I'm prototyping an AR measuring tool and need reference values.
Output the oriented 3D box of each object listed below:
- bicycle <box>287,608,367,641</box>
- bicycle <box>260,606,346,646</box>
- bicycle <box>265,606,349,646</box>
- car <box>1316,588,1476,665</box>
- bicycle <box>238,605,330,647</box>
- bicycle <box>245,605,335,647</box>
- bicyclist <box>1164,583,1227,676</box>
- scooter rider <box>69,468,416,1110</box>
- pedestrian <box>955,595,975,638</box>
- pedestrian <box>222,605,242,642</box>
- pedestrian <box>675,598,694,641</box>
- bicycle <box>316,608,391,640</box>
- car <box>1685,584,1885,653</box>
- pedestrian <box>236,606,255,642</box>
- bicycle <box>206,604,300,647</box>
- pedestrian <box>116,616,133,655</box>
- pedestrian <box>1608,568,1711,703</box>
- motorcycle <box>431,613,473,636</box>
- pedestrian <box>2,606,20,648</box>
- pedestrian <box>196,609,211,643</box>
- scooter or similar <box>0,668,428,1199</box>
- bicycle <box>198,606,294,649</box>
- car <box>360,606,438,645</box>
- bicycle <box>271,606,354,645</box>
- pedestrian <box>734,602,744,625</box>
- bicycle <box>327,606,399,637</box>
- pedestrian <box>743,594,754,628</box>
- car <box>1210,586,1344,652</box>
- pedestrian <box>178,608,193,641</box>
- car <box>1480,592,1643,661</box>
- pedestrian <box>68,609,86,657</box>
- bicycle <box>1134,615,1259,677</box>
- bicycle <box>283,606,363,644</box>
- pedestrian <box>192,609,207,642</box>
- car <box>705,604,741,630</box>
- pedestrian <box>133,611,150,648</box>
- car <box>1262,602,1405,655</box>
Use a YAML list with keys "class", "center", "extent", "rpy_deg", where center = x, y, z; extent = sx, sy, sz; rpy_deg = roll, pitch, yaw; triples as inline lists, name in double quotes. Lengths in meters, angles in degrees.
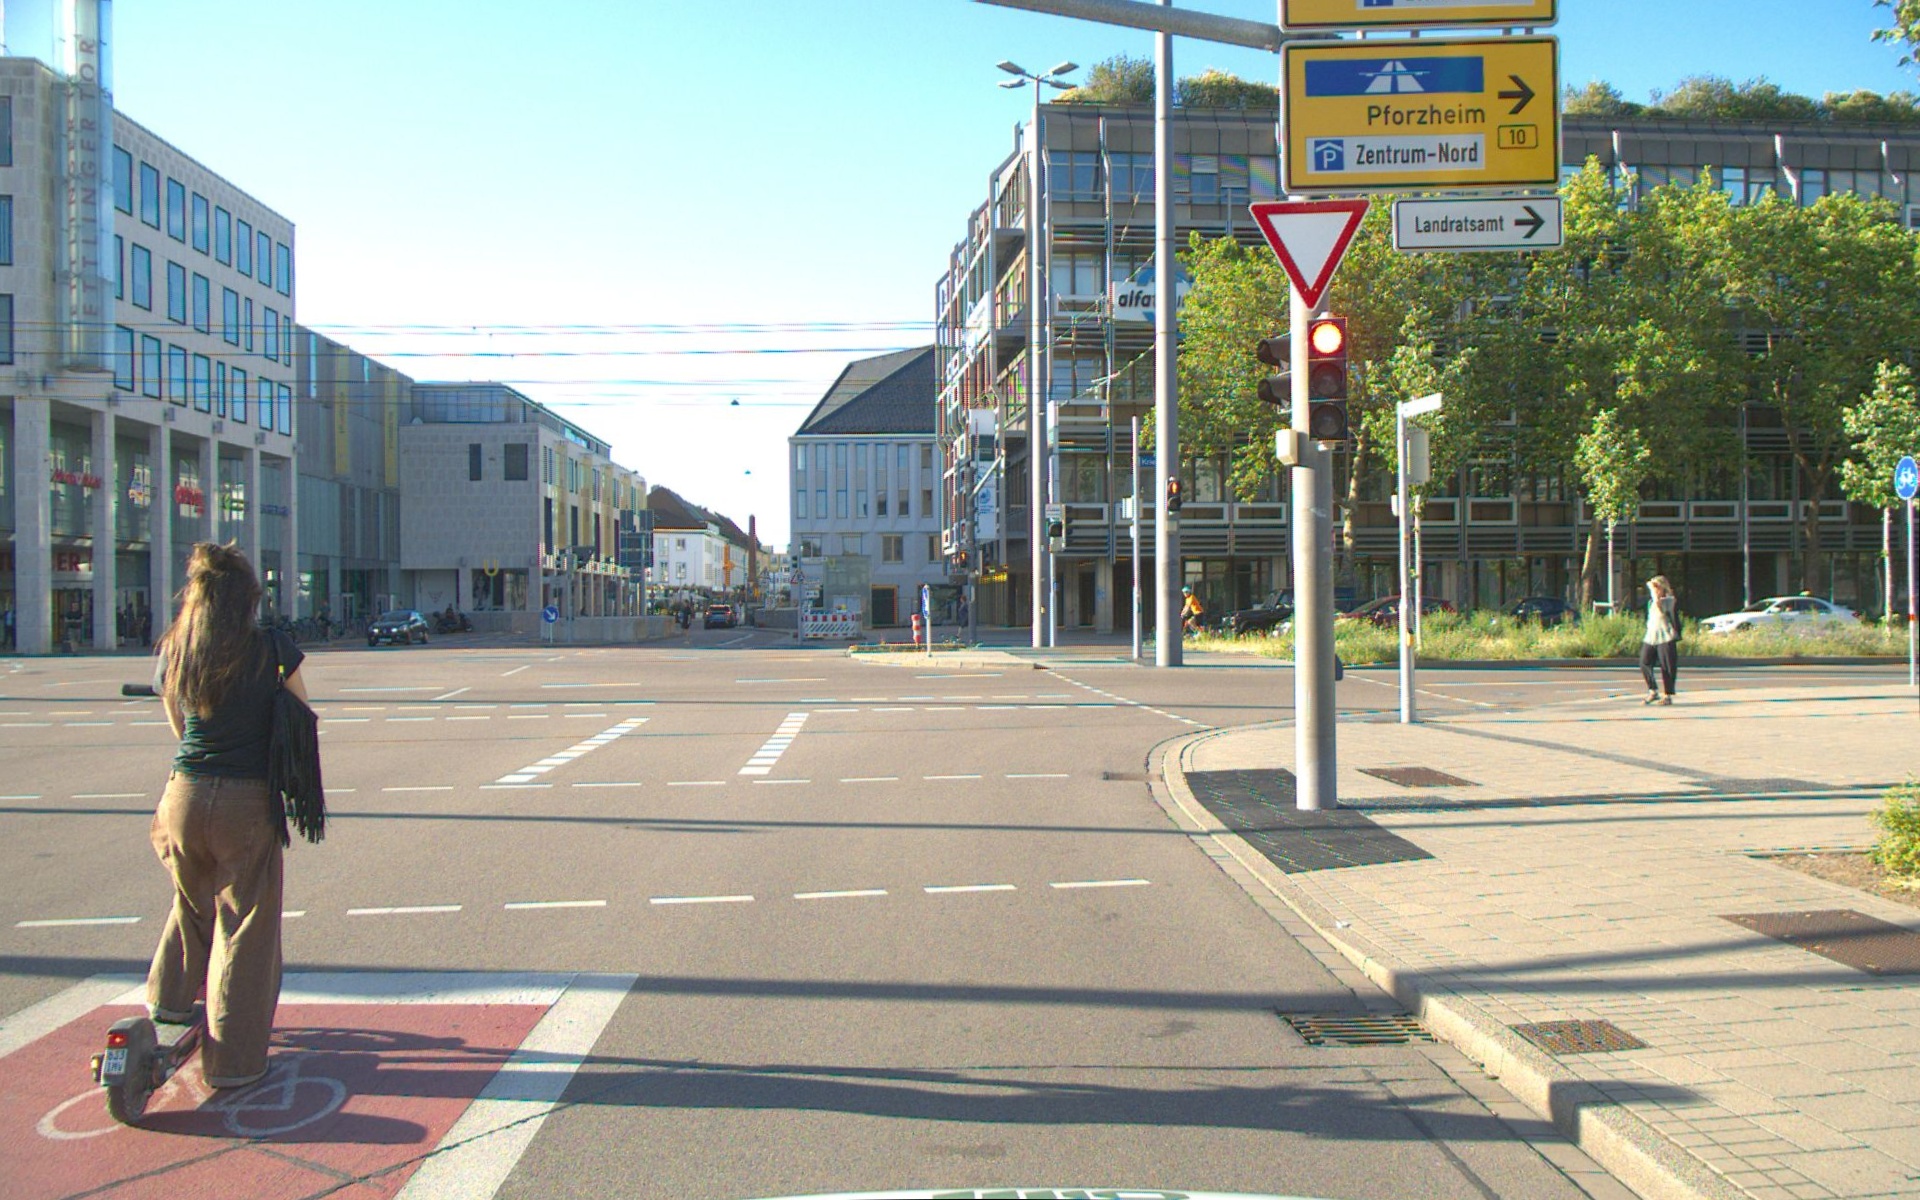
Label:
- class: "bicycle"
  center: [-30.543, 1.172, 79.850]
  extent: [3.430, 1.554, 0.984]
  rpy_deg: [-1, 0, -12]
- class: "bicycle"
  center: [-29.575, 1.170, 74.488]
  extent: [3.430, 1.726, 0.984]
  rpy_deg: [-1, 0, -12]
- class: "bicycle"
  center: [-29.799, 1.179, 75.576]
  extent: [3.430, 1.726, 0.984]
  rpy_deg: [-1, 0, -12]
- class: "car"
  center: [12.230, 0.735, 46.573]
  extent: [3.908, 2.049, 1.999]
  rpy_deg: [1, 0, -3]
- class: "bicycle"
  center: [-28.869, 1.088, 70.707]
  extent: [3.427, 1.726, 1.114]
  rpy_deg: [-1, 0, -10]
- class: "bicycle"
  center: [-29.100, 1.125, 71.919]
  extent: [3.427, 1.726, 1.114]
  rpy_deg: [-1, 0, -10]
- class: "bicyclist"
  center: [6.717, 0.834, 47.218]
  extent: [1.539, 2.625, 0.930]
  rpy_deg: [-1, 0, -10]
- class: "scooter rider"
  center: [-2.156, 0.531, 5.073]
  extent: [0.713, 1.806, 0.811]
  rpy_deg: [0, 0, -1]
- class: "pedestrian"
  center: [0.198, 0.634, 64.943]
  extent: [0.715, 1.687, 0.649]
  rpy_deg: [-1, 0, -8]
- class: "pedestrian"
  center: [-34.151, 1.097, 77.547]
  extent: [0.772, 1.671, 0.691]
  rpy_deg: [-1, 0, -18]
- class: "pedestrian"
  center: [-10.887, 0.751, 65.331]
  extent: [0.650, 1.687, 0.755]
  rpy_deg: [-1, 0, -4]
- class: "bicycle"
  center: [-30.886, 1.213, 84.260]
  extent: [3.430, 1.554, 0.984]
  rpy_deg: [-1, 0, -12]
- class: "car"
  center: [26.171, 0.580, 52.571]
  extent: [5.332, 2.049, 2.096]
  rpy_deg: [1, 0, -3]
- class: "pedestrian"
  center: [-33.304, 1.104, 77.130]
  extent: [0.641, 1.671, 0.693]
  rpy_deg: [-1, 0, -9]
- class: "bicycle"
  center: [-29.549, 1.061, 69.179]
  extent: [3.427, 1.726, 1.114]
  rpy_deg: [-1, 0, -10]
- class: "pedestrian"
  center: [-35.103, 1.480, 69.498]
  extent: [0.472, 1.613, 0.513]
  rpy_deg: [-1, 0, -5]
- class: "pedestrian"
  center: [8.862, 0.438, 20.979]
  extent: [0.787, 1.658, 0.939]
  rpy_deg: [-1, 0, -14]
- class: "motorcycle"
  center: [-29.957, 1.436, 97.588]
  extent: [2.230, 1.341, 0.719]
  rpy_deg: [-1, 0, -6]
- class: "pedestrian"
  center: [-37.493, 1.066, 65.365]
  extent: [0.420, 1.613, 0.498]
  rpy_deg: [-1, 0, -5]
- class: "pedestrian"
  center: [-36.816, 1.252, 80.485]
  extent: [0.472, 1.613, 0.598]
  rpy_deg: [-1, 0, -5]
- class: "scooter or similar"
  center: [-2.181, 0.849, 4.862]
  extent: [0.713, 1.223, 1.664]
  rpy_deg: [0, 0, -1]
- class: "bicycle"
  center: [-29.324, 1.114, 68.027]
  extent: [3.427, 1.726, 1.114]
  rpy_deg: [-1, 0, -10]
- class: "car"
  center: [-23.520, 1.042, 69.480]
  extent: [1.953, 1.512, 3.999]
  rpy_deg: [-1, 0, -1]
- class: "bicycle"
  center: [-30.040, 1.180, 76.775]
  extent: [3.430, 1.726, 0.984]
  rpy_deg: [-1, 0, -12]
- class: "pedestrian"
  center: [-13.696, 0.832, 102.406]
  extent: [0.598, 1.436, 0.569]
  rpy_deg: [-1, 0, -7]
- class: "bicycle"
  center: [-31.074, 1.121, 86.121]
  extent: [3.430, 1.554, 0.984]
  rpy_deg: [-1, 0, -12]
- class: "pedestrian"
  center: [-13.125, 0.677, 102.631]
  extent: [0.598, 2.049, 0.569]
  rpy_deg: [-1, 0, -7]
- class: "car"
  center: [10.303, 0.600, 53.914]
  extent: [3.908, 2.049, 1.999]
  rpy_deg: [1, 0, -3]
- class: "pedestrian"
  center: [-35.930, 1.138, 76.757]
  extent: [0.472, 1.537, 0.513]
  rpy_deg: [-1, 0, -5]
- class: "car"
  center: [18.826, 0.822, 51.875]
  extent: [4.359, 2.049, 1.998]
  rpy_deg: [1, 0, -6]
- class: "pedestrian"
  center: [-31.030, 1.142, 58.138]
  extent: [0.534, 1.671, 0.546]
  rpy_deg: [-1, 0, -26]
- class: "bicycle"
  center: [6.747, 1.303, 47.218]
  extent: [3.427, 1.688, 0.929]
  rpy_deg: [-1, 0, -10]
- class: "bicycle"
  center: [-30.339, 1.189, 78.861]
  extent: [3.430, 1.726, 0.984]
  rpy_deg: [-1, 0, -12]
- class: "pedestrian"
  center: [-36.962, 1.247, 80.408]
  extent: [0.472, 1.613, 0.598]
  rpy_deg: [-1, 0, -5]
- class: "car"
  center: [-15.499, 1.097, 108.158]
  extent: [2.157, 1.635, 4.320]
  rpy_deg: [-1, 0, -6]
- class: "pedestrian"
  center: [-34.763, 1.250, 70.237]
  extent: [0.472, 1.537, 0.513]
  rpy_deg: [-1, 0, -5]
- class: "car"
  center: [11.438, 0.865, 50.811]
  extent: [3.908, 1.534, 1.867]
  rpy_deg: [1, 0, -4]
